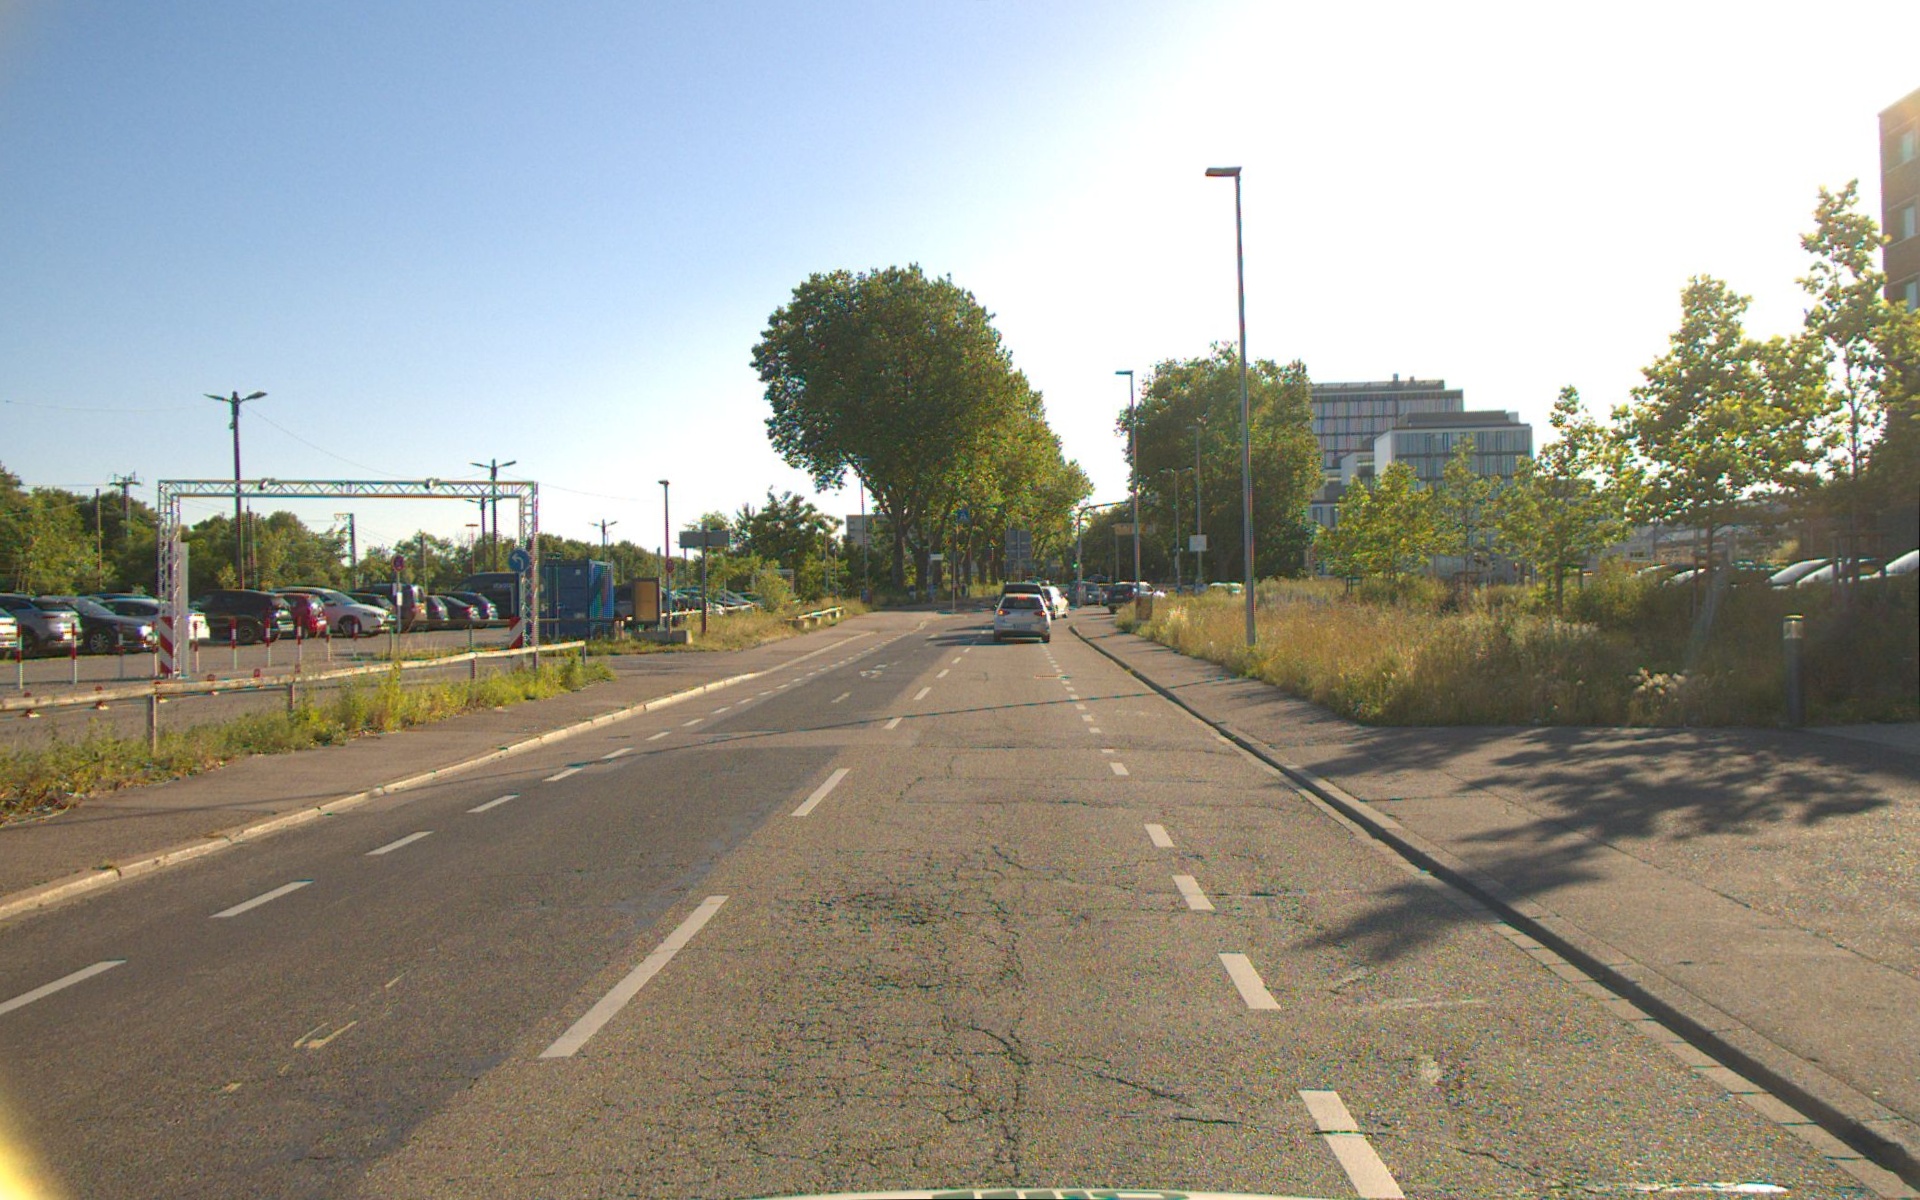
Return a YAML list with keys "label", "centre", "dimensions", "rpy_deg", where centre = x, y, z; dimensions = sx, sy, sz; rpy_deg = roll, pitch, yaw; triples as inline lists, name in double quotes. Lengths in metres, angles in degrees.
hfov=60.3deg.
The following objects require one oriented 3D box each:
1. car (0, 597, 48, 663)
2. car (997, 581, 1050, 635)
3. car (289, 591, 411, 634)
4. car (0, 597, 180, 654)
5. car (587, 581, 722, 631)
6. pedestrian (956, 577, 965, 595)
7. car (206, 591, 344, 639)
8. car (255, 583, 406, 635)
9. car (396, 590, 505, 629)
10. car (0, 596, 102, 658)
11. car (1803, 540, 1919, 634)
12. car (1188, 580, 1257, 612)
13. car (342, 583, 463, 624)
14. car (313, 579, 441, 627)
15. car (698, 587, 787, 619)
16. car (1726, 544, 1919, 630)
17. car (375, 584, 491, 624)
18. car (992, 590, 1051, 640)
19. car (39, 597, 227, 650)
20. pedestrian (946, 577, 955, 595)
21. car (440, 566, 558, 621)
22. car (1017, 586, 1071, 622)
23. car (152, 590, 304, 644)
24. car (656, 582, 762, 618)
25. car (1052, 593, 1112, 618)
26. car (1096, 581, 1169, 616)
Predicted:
- label: "car"
  centre: [-23.203, 0.659, 37.304]
  dimensions: [4.232, 1.444, 1.879]
  rpy_deg: [0, 0, 1]
- label: "car"
  centre: [2.214, 0.232, 57.752]
  dimensions: [1.781, 1.799, 4.631]
  rpy_deg: [0, 1, 2]
- label: "car"
  centre: [-22.533, 0.453, 61.227]
  dimensions: [3.802, 1.546, 1.879]
  rpy_deg: [0, 0, 1]
- label: "car"
  centre: [-22.693, 0.639, 42.653]
  dimensions: [4.232, 1.400, 1.879]
  rpy_deg: [0, 0, 1]
- label: "car"
  centre: [-11.629, 0.228, 63.130]
  dimensions: [4.745, 1.867, 2.000]
  rpy_deg: [0, 0, 1]
- label: "pedestrian"
  centre: [0.019, -1.165, 133.851]
  dimensions: [0.664, 1.439, 0.684]
  rpy_deg: [-1, 0, 2]
- label: "car"
  centre: [-22.862, 0.485, 55.308]
  dimensions: [3.802, 1.546, 1.879]
  rpy_deg: [0, 0, 1]
- label: "car"
  centre: [-22.098, 0.308, 58.145]
  dimensions: [4.483, 1.771, 2.059]
  rpy_deg: [0, 0, 5]
- label: "car"
  centre: [-22.071, 0.392, 71.714]
  dimensions: [4.120, 1.646, 1.878]
  rpy_deg: [0, 0, 1]
- label: "car"
  centre: [-23.449, 0.649, 40.190]
  dimensions: [4.232, 1.444, 1.879]
  rpy_deg: [0, 0, 1]
- label: "car"
  centre: [17.304, -0.235, 29.005]
  dimensions: [4.096, 1.608, 1.853]
  rpy_deg: [0, 0, 5]
- label: "car"
  centre: [15.179, -0.240, 95.457]
  dimensions: [2.132, 1.713, 3.977]
  rpy_deg: [-1, 0, 42]
- label: "car"
  centre: [-22.406, 0.126, 66.593]
  dimensions: [4.232, 1.646, 1.878]
  rpy_deg: [0, 0, 1]
- label: "car"
  centre: [-22.470, 0.092, 63.860]
  dimensions: [4.232, 1.823, 1.878]
  rpy_deg: [0, 0, 1]
- label: "car"
  centre: [-11.244, 0.143, 85.631]
  dimensions: [4.334, 1.585, 1.878]
  rpy_deg: [0, 0, 1]
- label: "car"
  centre: [17.236, -0.255, 31.903]
  dimensions: [4.096, 1.608, 1.853]
  rpy_deg: [0, 0, 5]
- label: "car"
  centre: [-21.982, 0.159, 69.109]
  dimensions: [4.232, 1.646, 1.878]
  rpy_deg: [0, 0, 1]
- label: "car"
  centre: [1.901, 0.439, 50.984]
  dimensions: [1.752, 1.445, 4.001]
  rpy_deg: [0, 1, 2]
- label: "car"
  centre: [-22.684, 0.630, 45.471]
  dimensions: [4.232, 1.400, 1.879]
  rpy_deg: [0, 0, 1]
- label: "pedestrian"
  centre: [-0.806, -1.163, 133.947]
  dimensions: [0.664, 1.439, 0.684]
  rpy_deg: [-1, 0, 2]
- label: "car"
  centre: [-21.340, -0.305, 76.718]
  dimensions: [4.824, 2.502, 2.320]
  rpy_deg: [0, 0, 1]
- label: "car"
  centre: [3.906, 0.148, 76.541]
  dimensions: [1.858, 1.624, 4.004]
  rpy_deg: [0, 0, 12]
- label: "car"
  centre: [-22.484, 0.507, 50.892]
  dimensions: [3.802, 1.631, 1.879]
  rpy_deg: [0, 0, 1]
- label: "car"
  centre: [-11.249, 0.005, 74.328]
  dimensions: [4.448, 1.585, 1.878]
  rpy_deg: [0, 0, 1]
- label: "car"
  centre: [8.165, 0.324, 110.703]
  dimensions: [1.977, 1.624, 3.951]
  rpy_deg: [0, 1, -35]
- label: "car"
  centre: [9.019, -0.074, 86.126]
  dimensions: [2.126, 1.713, 3.986]
  rpy_deg: [-1, 0, 35]
